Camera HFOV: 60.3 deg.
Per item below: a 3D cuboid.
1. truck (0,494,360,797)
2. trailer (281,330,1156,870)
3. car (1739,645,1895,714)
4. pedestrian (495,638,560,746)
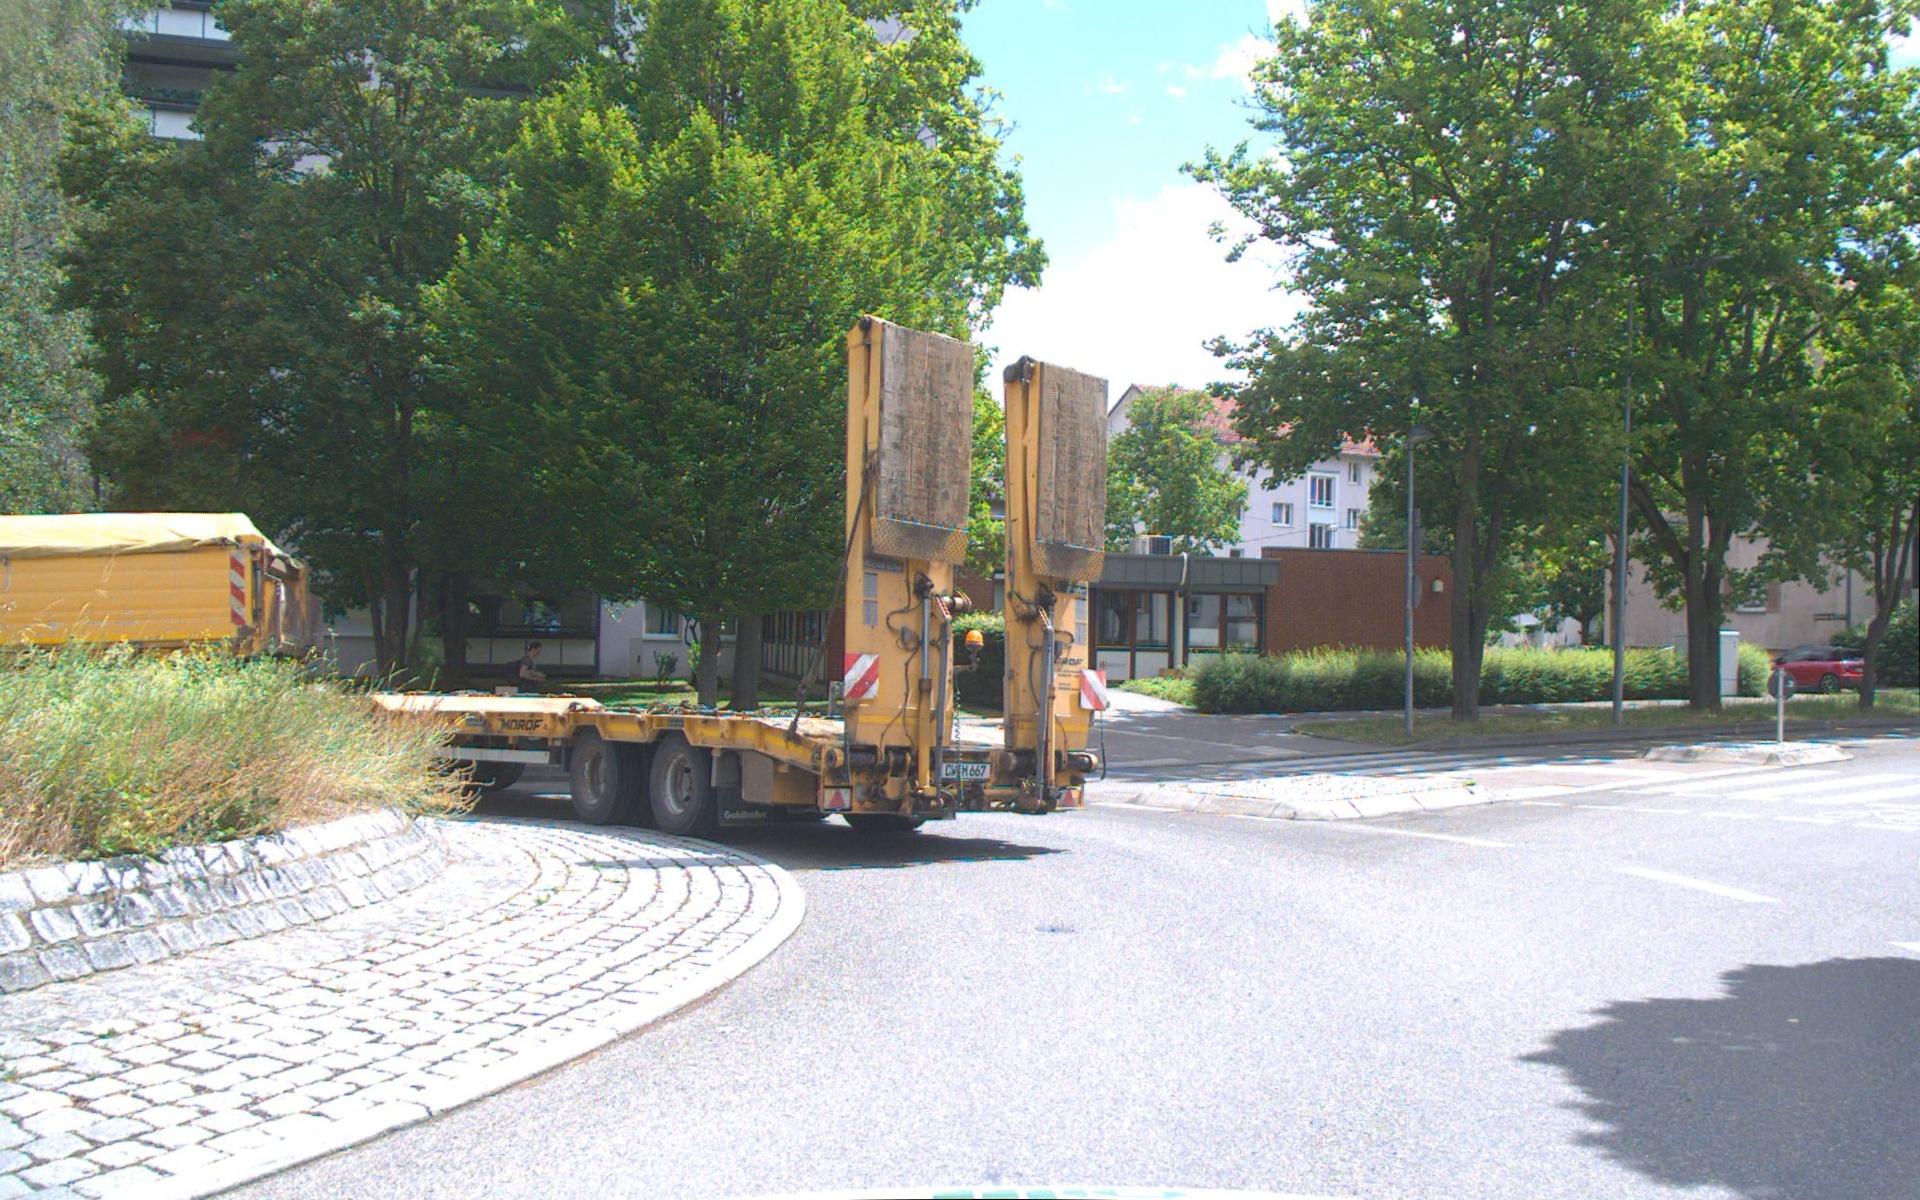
[{"bbox_3d":[-11.238,0.473,18.140,8.304,3.088,2.990,0,-1,-10],"label":"truck"},{"bbox_3d":[-3.091,-0.028,15.541,2.847,3.431,10.681,3,-1,-40],"label":"trailer"},{"bbox_3d":[26.992,2.496,52.213,1.989,1.975,3.962,2,-1,-29],"label":"car"},{"bbox_3d":[-6.735,1.420,25.738,0.827,1.606,0.716,-2,0,-24],"label":"pedestrian"}]
